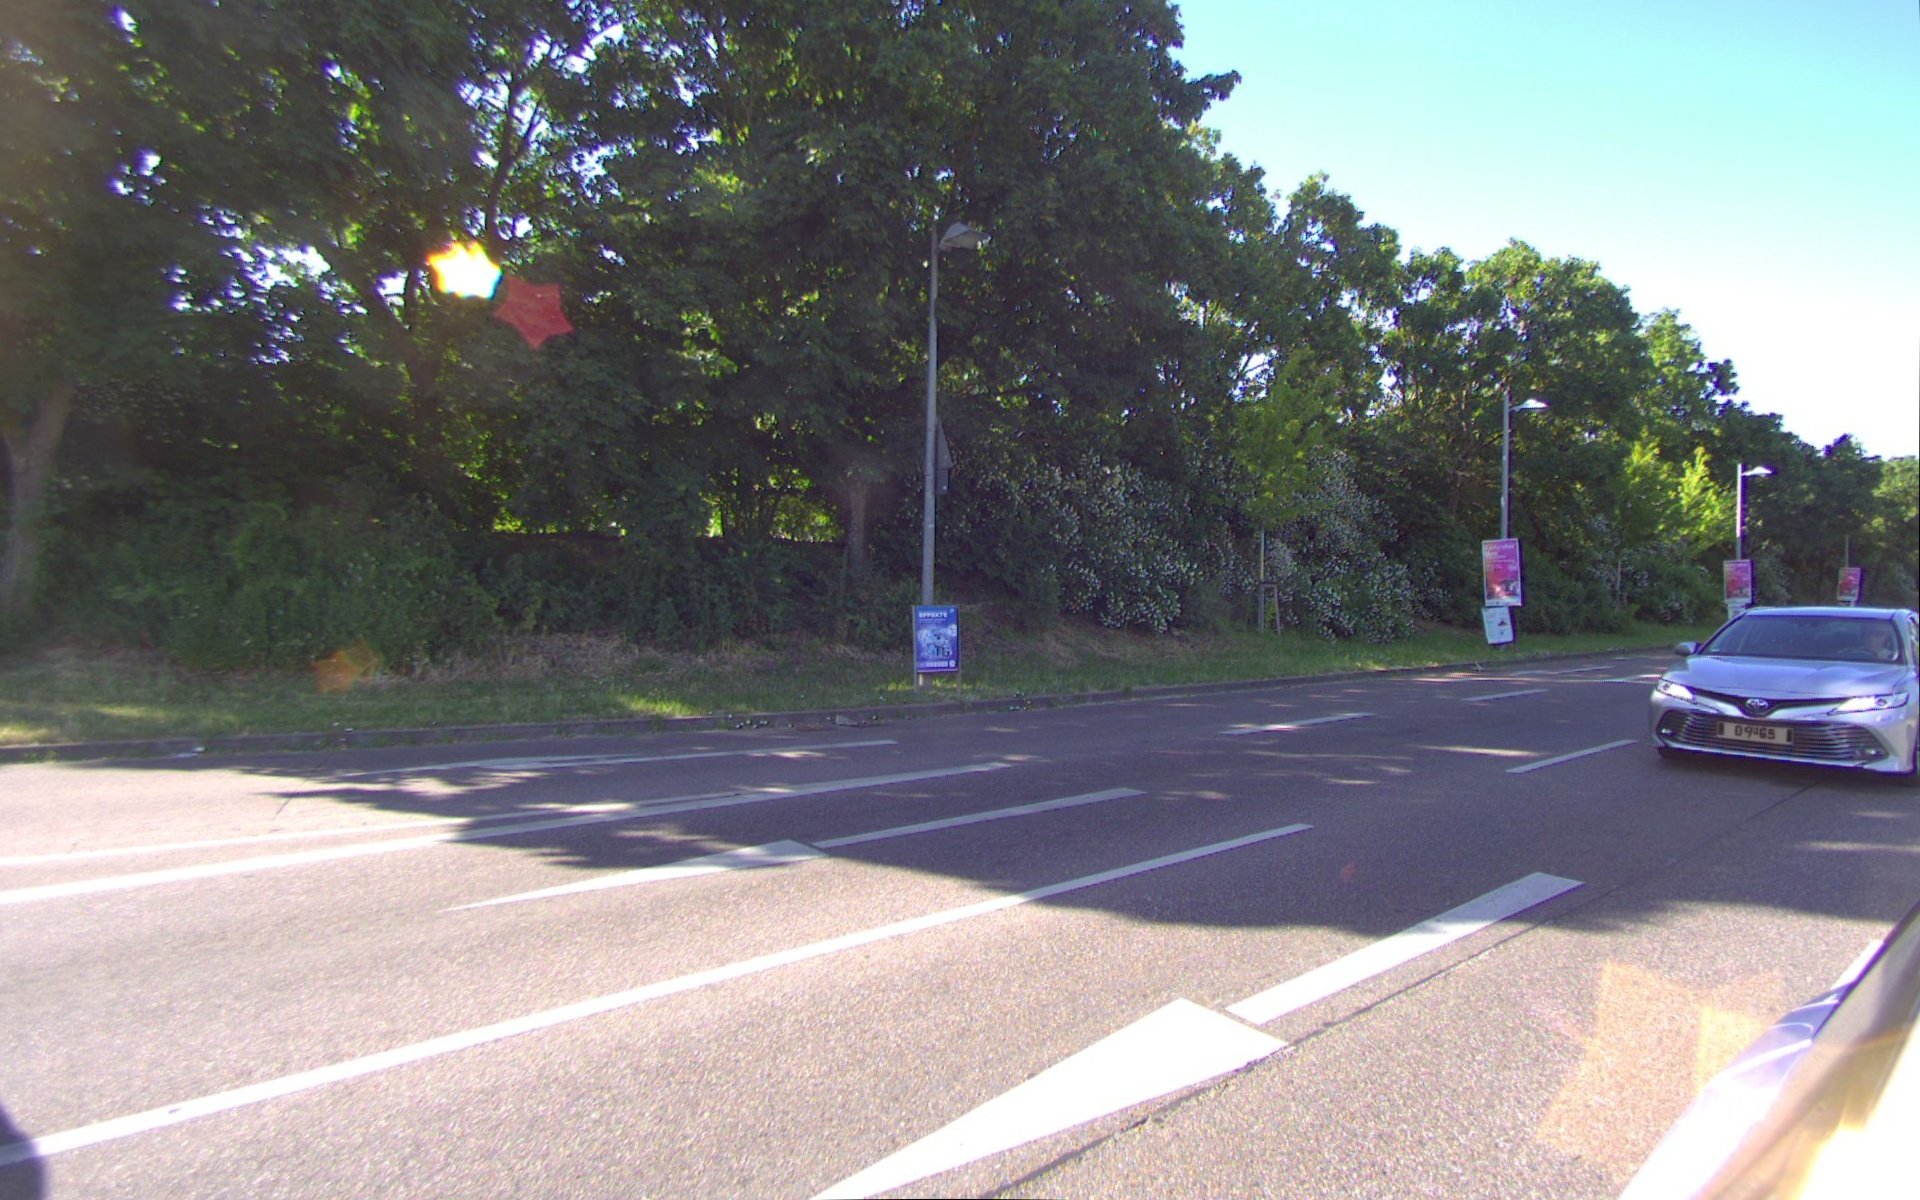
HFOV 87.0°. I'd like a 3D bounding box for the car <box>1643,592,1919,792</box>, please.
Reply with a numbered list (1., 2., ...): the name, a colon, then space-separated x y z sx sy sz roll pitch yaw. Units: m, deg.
1. car: 8.369 0.677 9.661 4.512 1.454 1.875 0 1 -40
